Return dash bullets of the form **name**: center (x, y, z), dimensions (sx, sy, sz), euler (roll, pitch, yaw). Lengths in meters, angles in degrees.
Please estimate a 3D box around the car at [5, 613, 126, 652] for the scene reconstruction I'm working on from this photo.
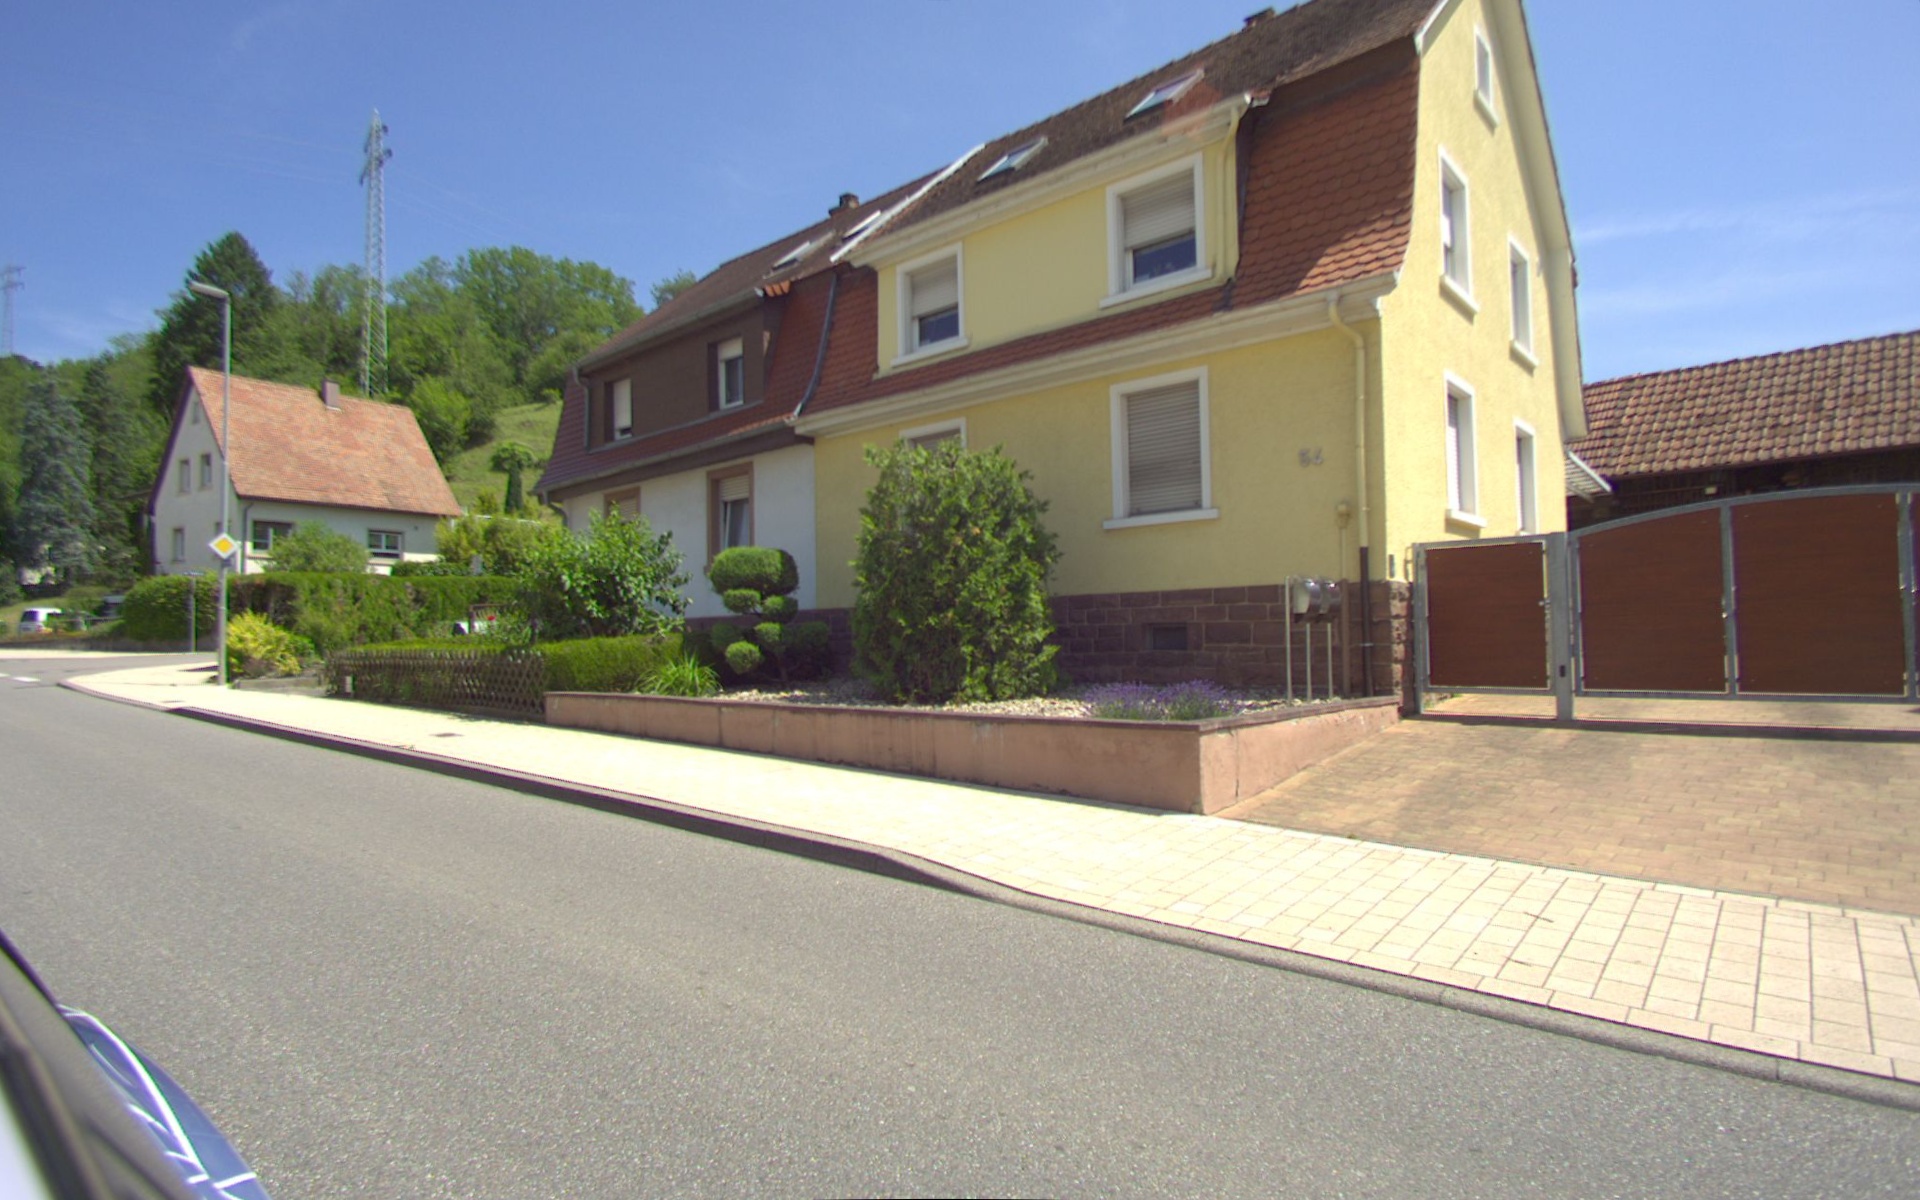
- **car**: center (-42.528, 1.513, 48.242), dimensions (1.796, 1.803, 3.977), euler (-1, -1, 18)
